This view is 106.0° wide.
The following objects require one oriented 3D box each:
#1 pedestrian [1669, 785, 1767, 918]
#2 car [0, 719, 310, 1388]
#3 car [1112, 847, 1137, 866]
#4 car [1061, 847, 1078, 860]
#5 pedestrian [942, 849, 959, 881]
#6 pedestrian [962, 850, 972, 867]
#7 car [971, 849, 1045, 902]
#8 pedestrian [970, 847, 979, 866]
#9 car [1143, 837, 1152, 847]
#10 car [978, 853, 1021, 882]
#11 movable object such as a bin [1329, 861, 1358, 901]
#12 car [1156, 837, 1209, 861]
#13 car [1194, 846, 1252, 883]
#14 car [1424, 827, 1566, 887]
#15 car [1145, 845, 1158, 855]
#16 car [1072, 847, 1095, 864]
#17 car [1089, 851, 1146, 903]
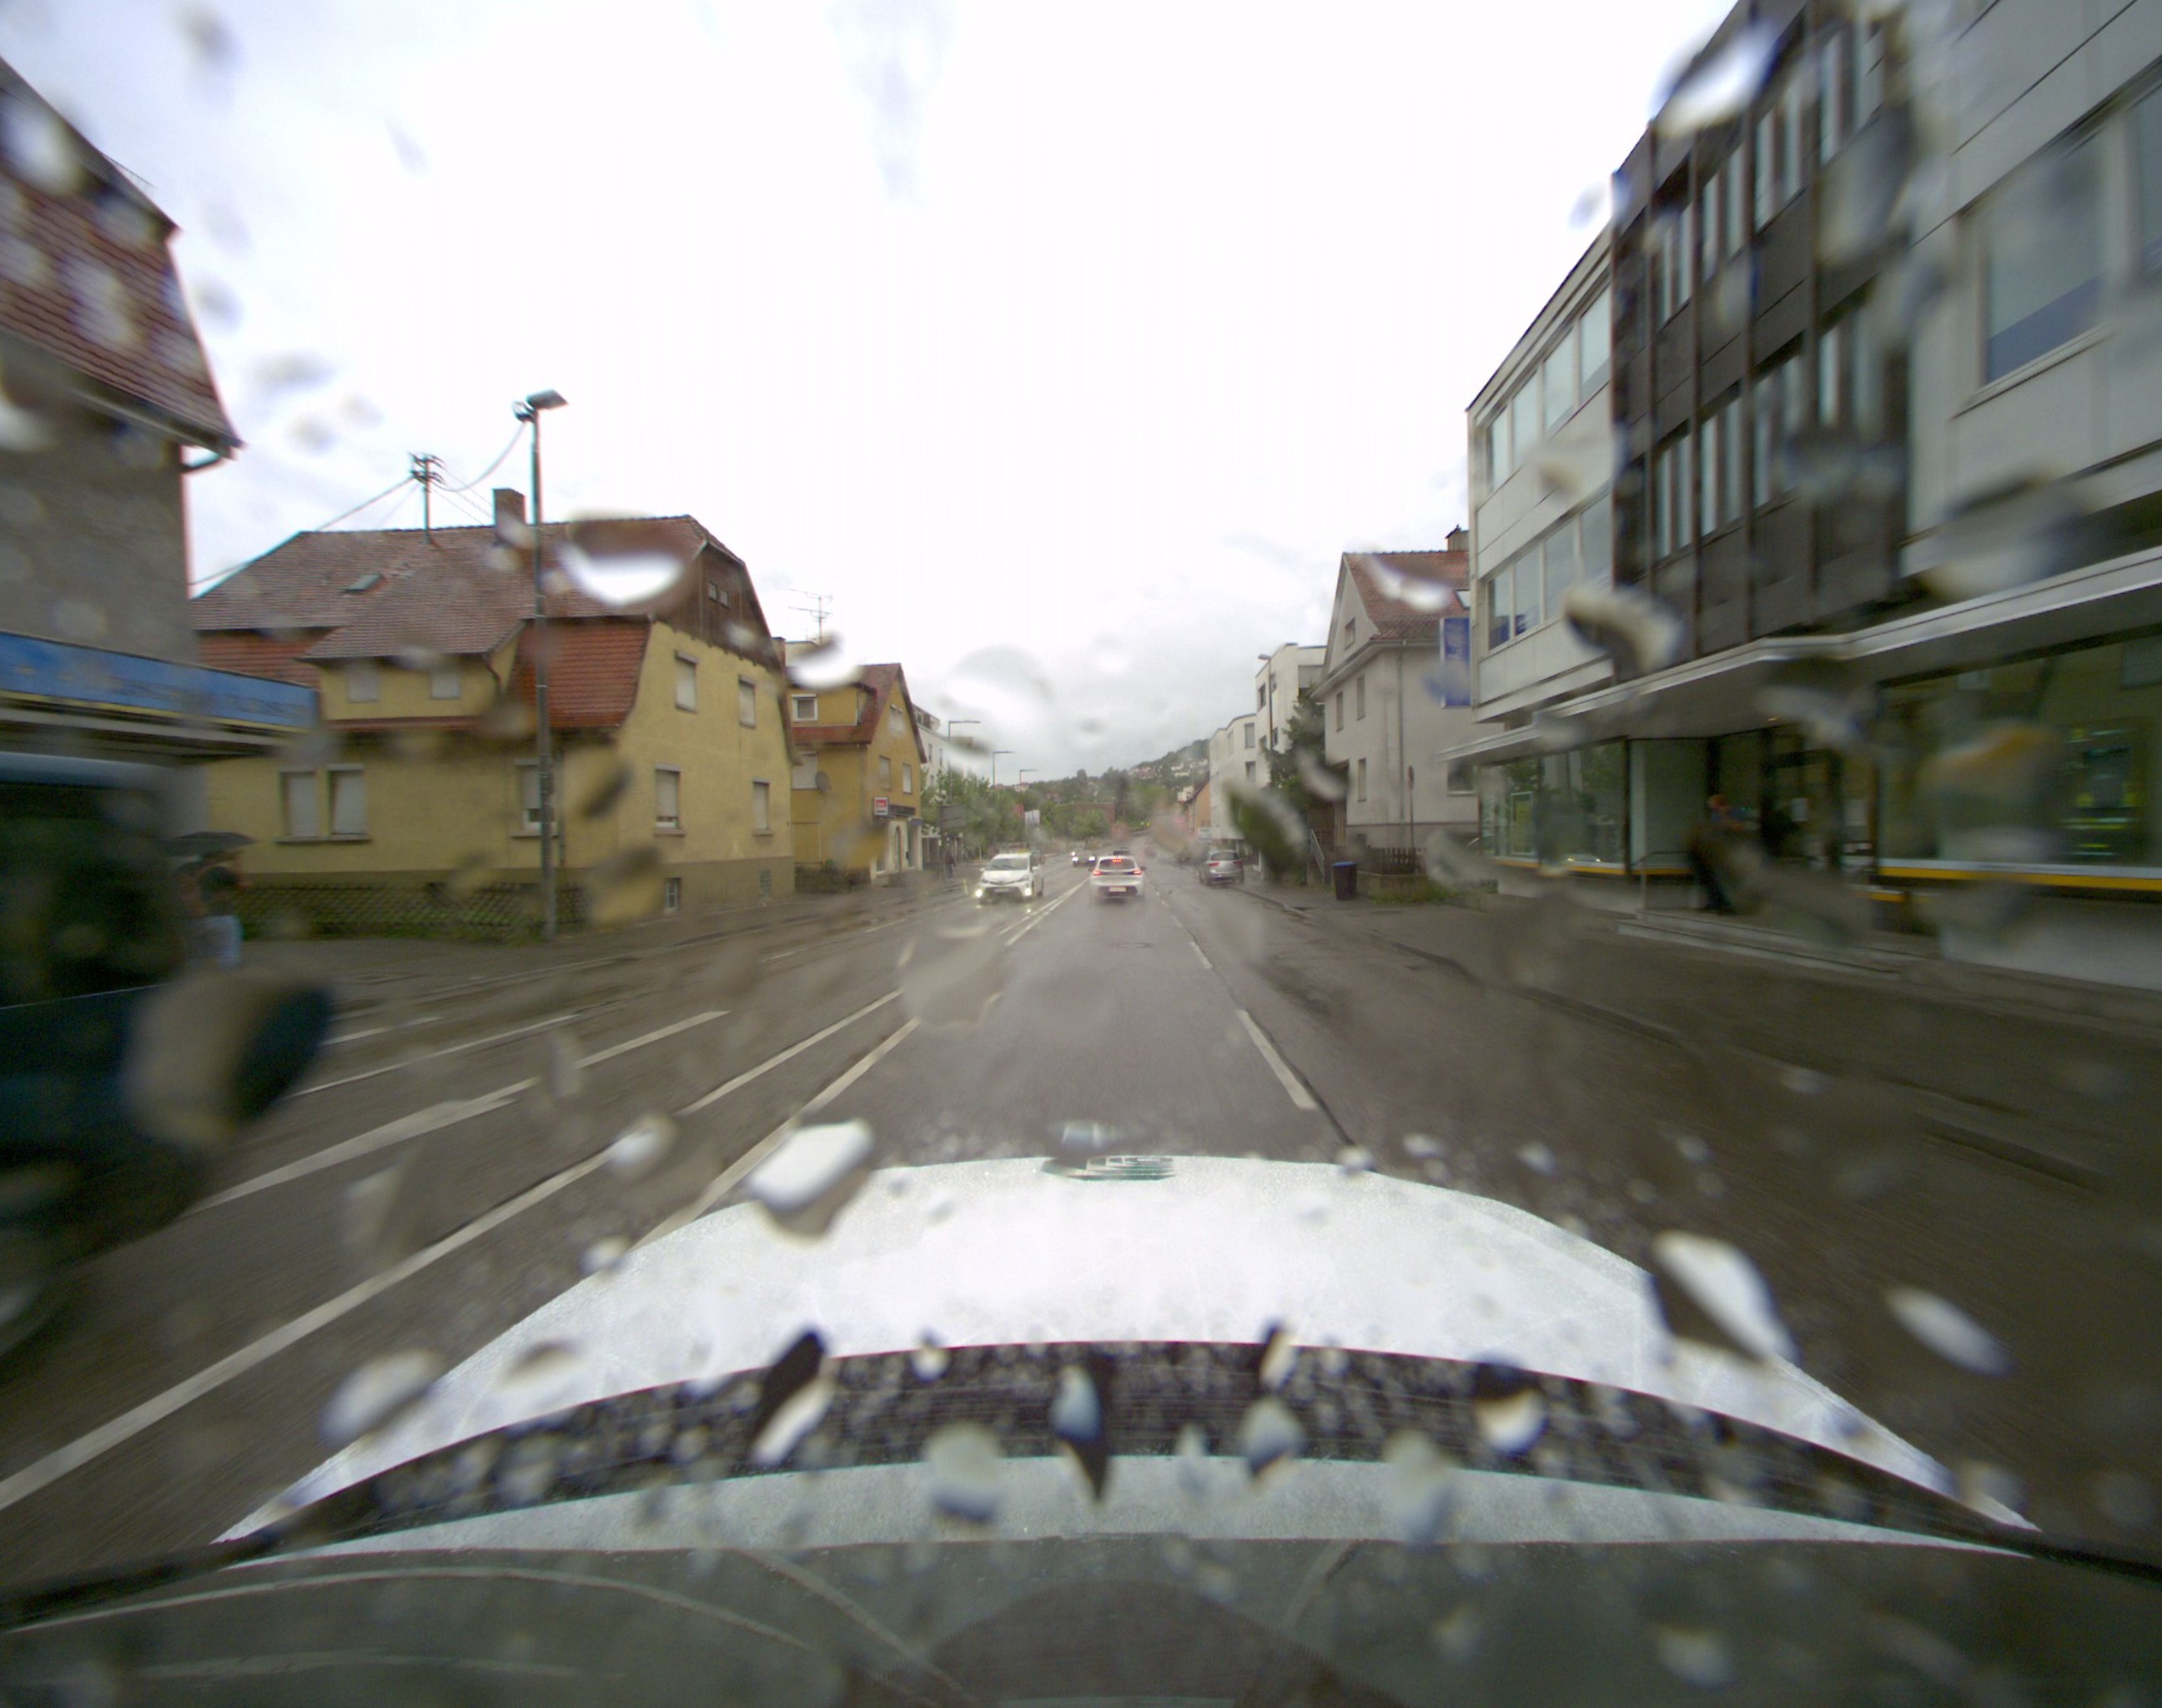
[{"bbox_3d":[8.944,-0.037,11.473,0.724,1.780,0.956,-1,1,11],"label":"pedestrian"},{"bbox_3d":[-4.160,0.582,0.704,1.959,1.938,5.180,-2,-1,1],"label":"car"},{"bbox_3d":[3.276,0.169,61.974,1.735,1.295,3.334,-2,0,1],"label":"car"},{"bbox_3d":[-1.512,-0.035,107.451,1.872,1.524,4.187,-2,-1,3],"label":"car"},{"bbox_3d":[-7.509,0.649,46.904,0.798,1.788,0.881,-2,-1,-1],"label":"pedestrian"},{"bbox_3d":[-11.642,0.475,83.203,0.805,1.738,1.004,-2,-1,2],"label":"pedestrian"},{"bbox_3d":[-2.402,0.706,27.970,1.871,1.609,4.722,-2,-1,3],"label":"car"},{"bbox_3d":[-12.290,0.269,93.865,0.741,2.145,0.774,-1,-1,16],"label":"pedestrian"},{"bbox_3d":[15.245,-2.767,187.326,1.985,2.014,4.003,-2,-1,3],"label":"car"},{"bbox_3d":[-4.524,0.739,45.811,1.642,1.418,4.143,-4,-1,4],"label":"car"},{"bbox_3d":[7.448,0.757,23.132,0.573,1.048,0.831,-3,1,3],"label":"movable object such as a bin"},{"bbox_3d":[10.908,-0.581,87.250,2.269,2.382,6.666,-3,-1,41],"label":"car"},{"bbox_3d":[6.587,0.518,38.159,2.004,1.622,4.361,-1,-2,1],"label":"car"},{"bbox_3d":[11.619,0.117,23.057,1.359,1.502,3.308,-4,1,-29],"label":"car"},{"bbox_3d":[11.008,-0.651,127.285,1.727,1.387,3.355,0,4,2],"label":"car"},{"bbox_3d":[0.267,0.179,72.174,1.761,1.413,4.529,-2,-1,3],"label":"car"},{"bbox_3d":[1.130,0.734,26.382,1.685,1.519,3.933,-1,-1,1],"label":"car"}]
